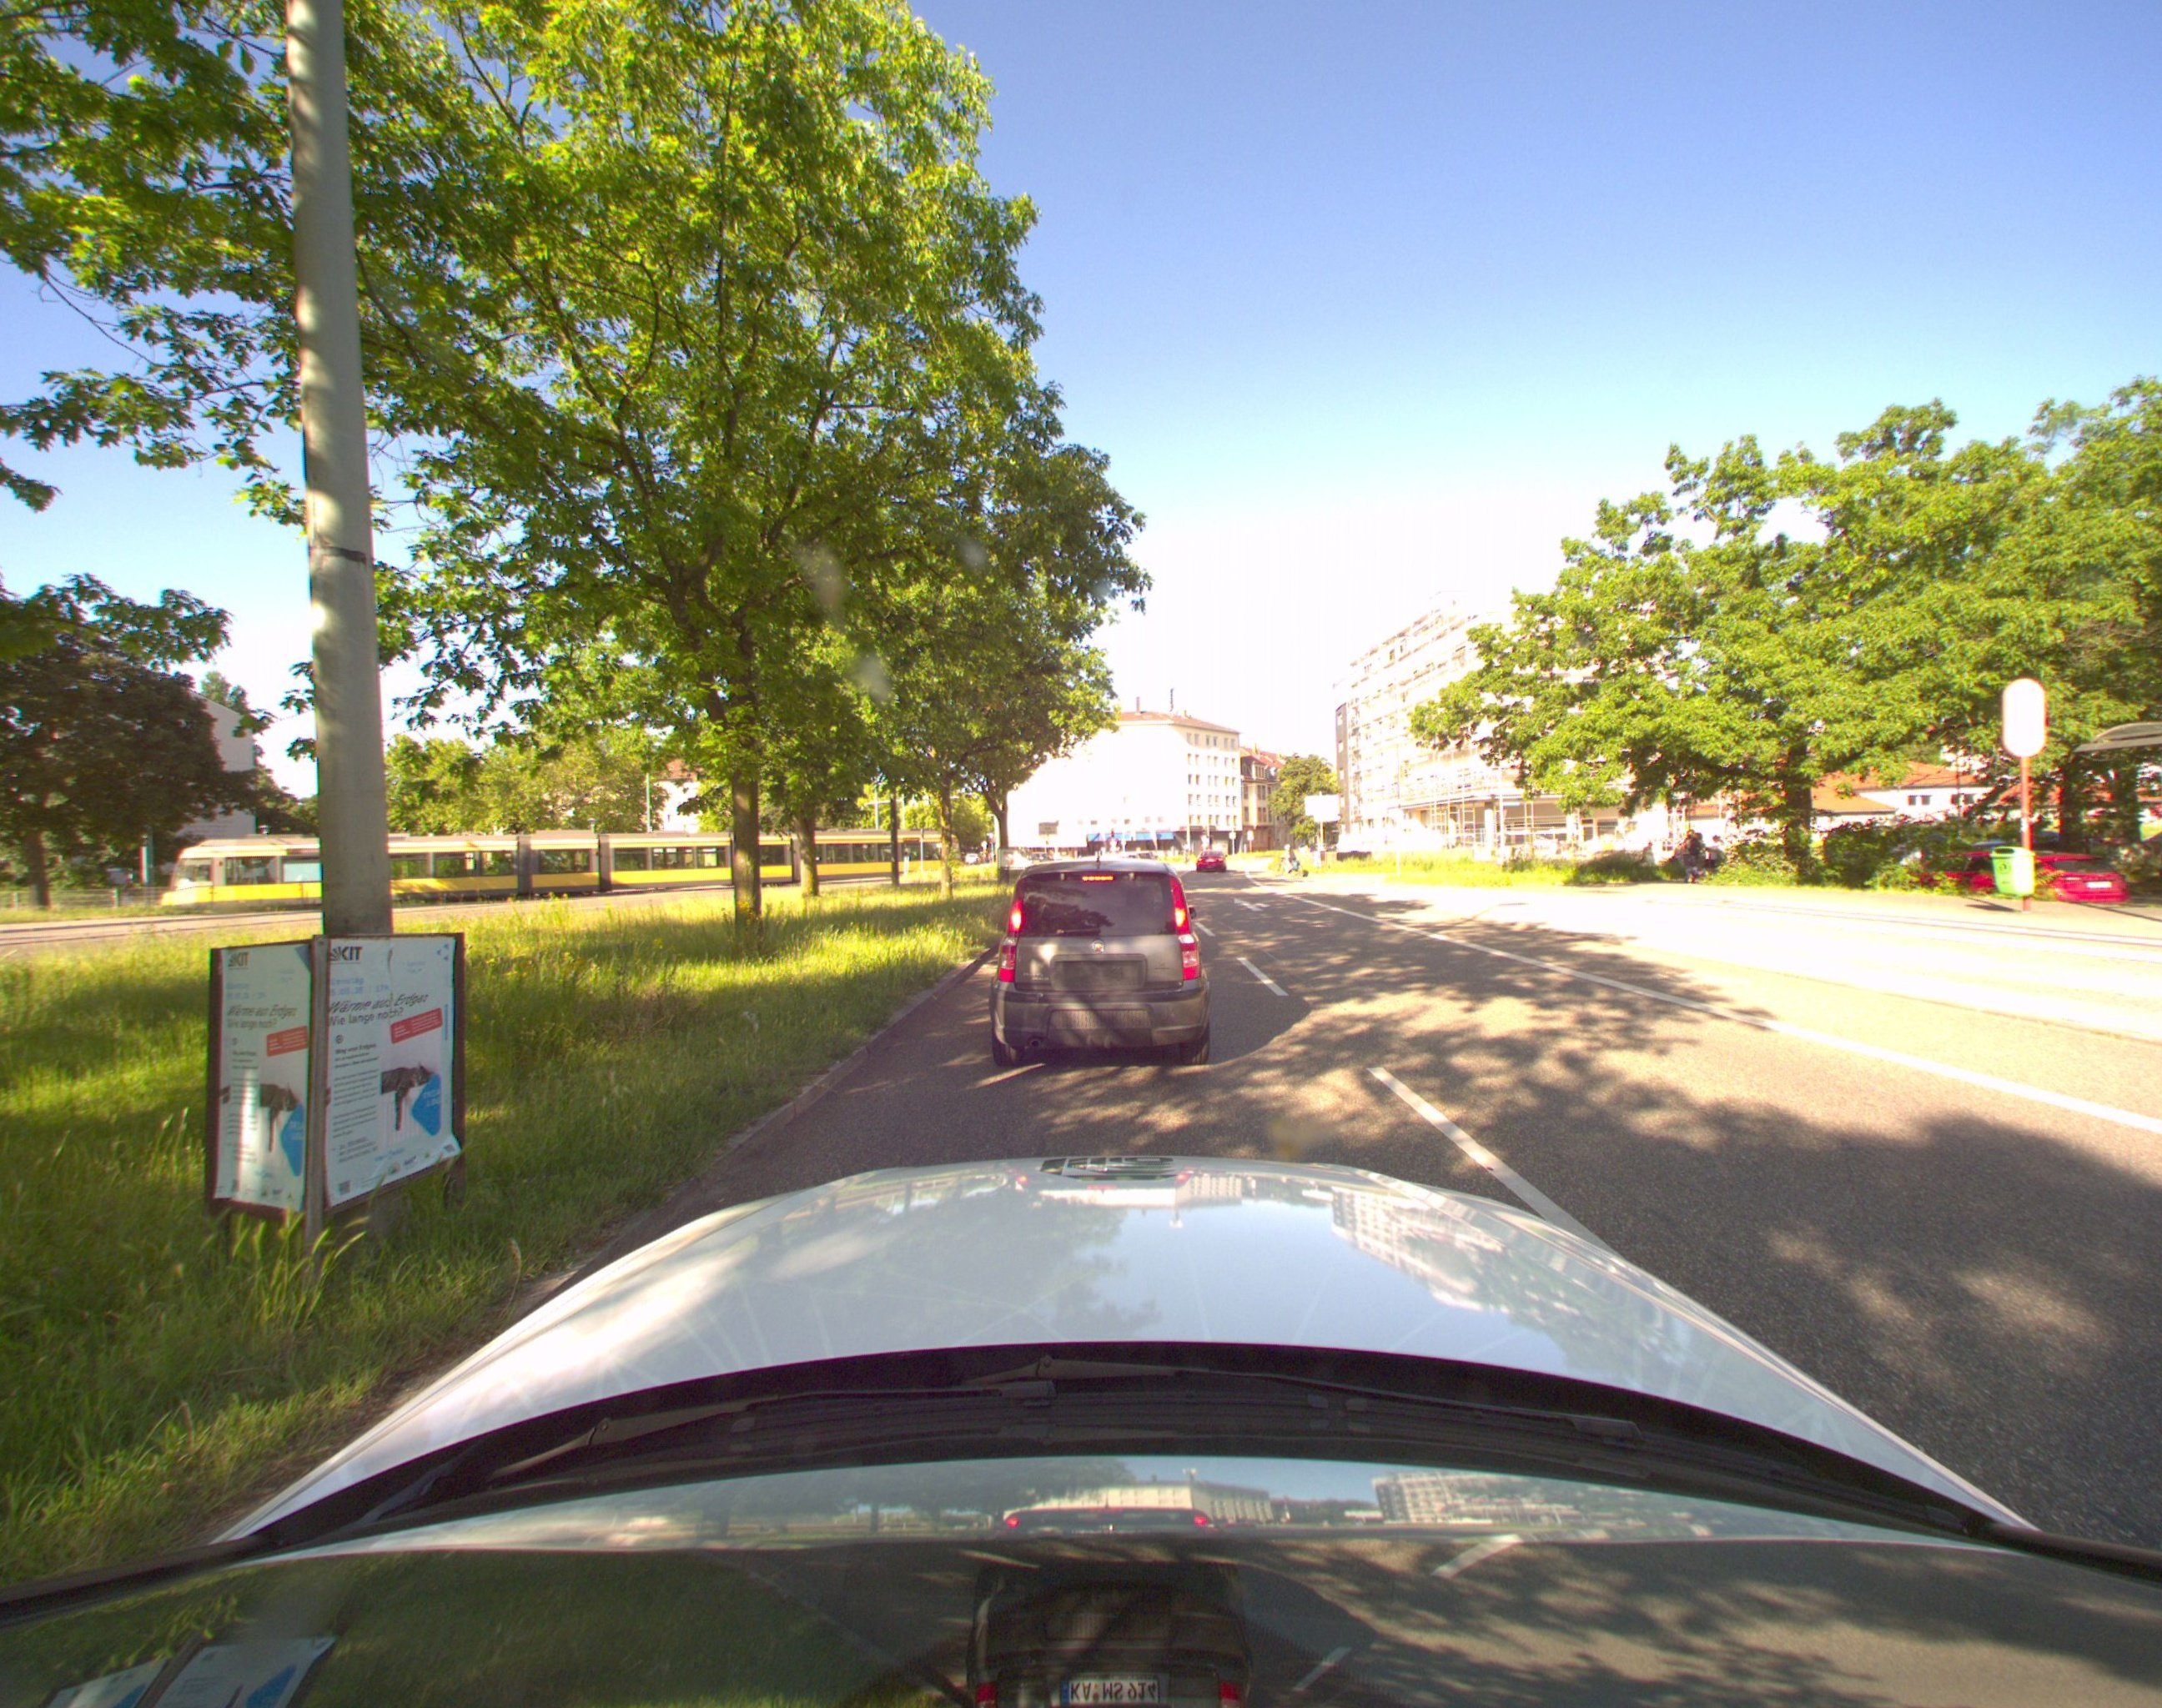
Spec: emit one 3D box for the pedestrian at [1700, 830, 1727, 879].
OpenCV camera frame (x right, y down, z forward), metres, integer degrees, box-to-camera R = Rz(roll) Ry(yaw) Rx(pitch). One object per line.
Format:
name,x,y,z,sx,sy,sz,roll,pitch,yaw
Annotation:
pedestrian,19.311,0.015,24.877,0.516,1.447,0.595,-2,0,28

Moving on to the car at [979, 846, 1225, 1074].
car,0.206,0.708,7.539,1.622,1.508,4.002,-2,0,2

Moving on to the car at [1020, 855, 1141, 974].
car,0.051,0.753,11.766,1.458,1.401,3.395,-2,0,2

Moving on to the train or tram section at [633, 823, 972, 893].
train or tram section,-16.567,-0.037,52.058,20.928,3.770,3.266,-2,0,-43

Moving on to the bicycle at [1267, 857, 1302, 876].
bicycle,10.914,0.670,43.683,0.563,0.945,1.773,-2,0,-43

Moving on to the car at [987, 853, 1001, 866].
car,-14.259,0.909,133.874,1.988,2.013,3.997,-2,0,-2

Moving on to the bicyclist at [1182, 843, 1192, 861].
bicyclist,8.927,-0.163,68.645,0.739,1.438,0.845,0,-1,0

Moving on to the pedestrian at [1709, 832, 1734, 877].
pedestrian,20.893,0.017,26.571,0.516,1.447,0.595,-2,0,28

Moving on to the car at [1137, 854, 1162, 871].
car,4.867,0.582,57.720,1.133,1.064,2.735,-2,0,19

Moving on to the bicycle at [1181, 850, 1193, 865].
bicycle,8.940,0.300,68.610,0.706,1.198,2.520,0,-1,1

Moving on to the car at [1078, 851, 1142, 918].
car,0.727,0.704,20.798,1.458,1.508,3.506,-2,0,2

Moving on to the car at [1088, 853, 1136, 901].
car,1.031,0.733,27.401,1.458,1.424,3.383,-2,0,2

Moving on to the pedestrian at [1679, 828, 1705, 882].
pedestrian,18.564,0.016,24.760,0.516,1.612,0.595,-2,0,28

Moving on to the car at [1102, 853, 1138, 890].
car,1.603,0.699,33.971,1.351,1.449,3.267,-2,0,2

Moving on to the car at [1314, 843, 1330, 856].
car,27.742,-0.529,93.562,1.514,1.314,3.304,-2,0,20

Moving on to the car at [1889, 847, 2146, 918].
car,21.988,0.600,19.378,1.747,1.486,3.743,-2,0,-2

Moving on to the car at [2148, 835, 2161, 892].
car,29.863,0.220,20.182,1.911,1.486,3.725,-2,0,-17

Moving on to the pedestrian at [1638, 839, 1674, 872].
pedestrian,25.967,0.079,36.762,0.893,1.447,0.962,-2,0,-13

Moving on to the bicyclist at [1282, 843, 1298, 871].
bicyclist,11.127,0.155,43.441,0.553,1.493,0.579,-2,0,-40

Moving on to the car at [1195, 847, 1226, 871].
car,8.362,0.302,52.770,1.876,1.428,4.398,-1,1,9

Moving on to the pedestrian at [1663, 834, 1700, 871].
pedestrian,27.229,-0.077,36.929,0.889,1.653,0.983,-2,0,-14

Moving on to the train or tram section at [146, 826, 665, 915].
train or tram section,-31.767,0.561,40.630,19.440,3.513,3.275,-2,0,-30

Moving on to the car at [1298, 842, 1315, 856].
car,24.917,-0.531,90.000,1.669,1.449,3.588,-2,0,18

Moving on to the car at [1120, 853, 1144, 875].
car,3.097,0.602,49.687,1.351,1.281,2.877,-2,0,2
